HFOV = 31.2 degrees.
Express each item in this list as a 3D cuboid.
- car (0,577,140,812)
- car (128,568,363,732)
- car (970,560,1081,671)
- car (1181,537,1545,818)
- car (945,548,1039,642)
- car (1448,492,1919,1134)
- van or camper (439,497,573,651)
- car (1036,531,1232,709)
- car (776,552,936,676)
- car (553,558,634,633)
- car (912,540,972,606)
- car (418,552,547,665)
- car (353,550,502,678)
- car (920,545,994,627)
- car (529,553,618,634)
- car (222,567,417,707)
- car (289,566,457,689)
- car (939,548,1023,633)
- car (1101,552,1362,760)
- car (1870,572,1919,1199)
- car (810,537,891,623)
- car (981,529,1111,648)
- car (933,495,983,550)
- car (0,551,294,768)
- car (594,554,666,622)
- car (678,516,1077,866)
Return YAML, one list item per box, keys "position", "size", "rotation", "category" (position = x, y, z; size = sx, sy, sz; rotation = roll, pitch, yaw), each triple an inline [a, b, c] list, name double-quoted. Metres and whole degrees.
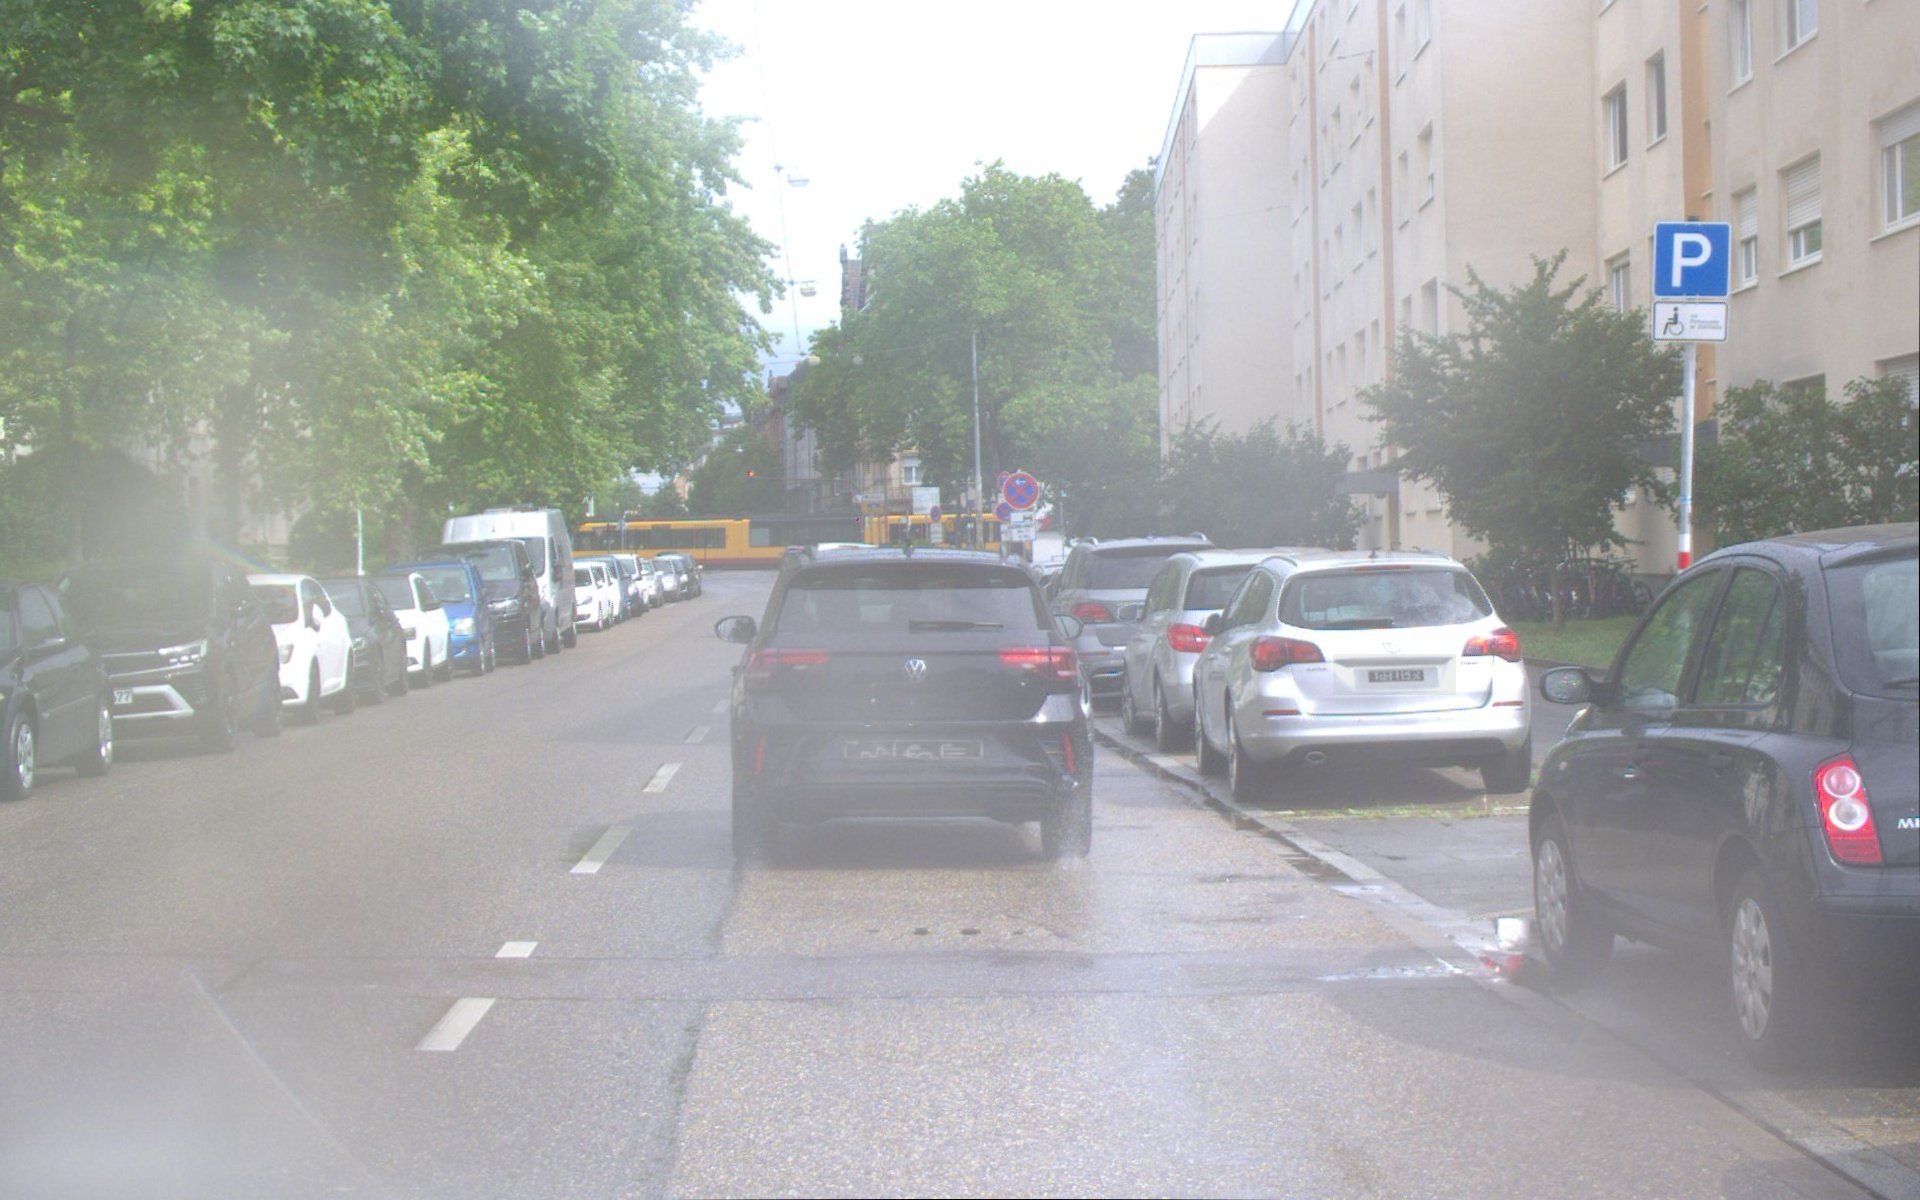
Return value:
- position: [-6.719, 0.598, 23.089]
  size: [1.586, 1.413, 4.053]
  rotation: [-2, 1, -3]
  category: "car"
- position: [-6.832, 0.438, 33.205]
  size: [1.586, 1.413, 3.921]
  rotation: [-2, 1, -3]
  category: "car"
- position: [1.091, 0.231, 58.800]
  size: [1.604, 1.759, 4.032]
  rotation: [-2, 1, -2]
  category: "car"
- position: [2.426, 0.413, 21.598]
  size: [1.695, 1.533, 4.032]
  rotation: [-2, 1, -1]
  category: "car"
- position: [0.612, -0.116, 68.579]
  size: [1.604, 1.759, 4.032]
  rotation: [-2, 1, -2]
  category: "car"
- position: [2.739, 0.512, 10.912]
  size: [1.604, 1.656, 4.033]
  rotation: [0, 1, -3]
  category: "car"
- position: [-7.845, -0.463, 59.809]
  size: [1.802, 2.485, 5.021]
  rotation: [-2, 1, -3]
  category: "van or camper"
- position: [1.734, 0.168, 35.402]
  size: [1.604, 1.666, 4.032]
  rotation: [-2, 1, -2]
  category: "car"
- position: [-1.302, 0.176, 44.444]
  size: [1.813, 1.498, 4.000]
  rotation: [1, 0, 2]
  category: "car"
- position: [-8.534, -0.130, 80.224]
  size: [1.586, 1.634, 3.921]
  rotation: [-2, 1, -3]
  category: "car"
- position: [-0.546, -0.815, 101.128]
  size: [1.665, 1.831, 4.000]
  rotation: [-2, 1, 0]
  category: "car"
- position: [-7.405, 0.108, 53.590]
  size: [1.586, 1.634, 3.921]
  rotation: [-2, 1, -3]
  category: "car"
- position: [-7.352, 0.160, 47.759]
  size: [1.586, 1.634, 3.921]
  rotation: [-2, 1, -3]
  category: "car"
- position: [-0.086, -0.357, 81.966]
  size: [1.665, 1.831, 4.000]
  rotation: [-2, 1, 0]
  category: "car"
- position: [-8.278, -0.159, 73.911]
  size: [1.586, 1.634, 3.921]
  rotation: [-2, 1, -3]
  category: "car"
- position: [-7.113, 0.371, 38.491]
  size: [1.586, 1.413, 3.921]
  rotation: [-2, 1, -3]
  category: "car"
- position: [-7.379, 0.314, 43.489]
  size: [1.586, 1.413, 3.921]
  rotation: [-2, 1, -3]
  category: "car"
- position: [0.431, -0.232, 75.843]
  size: [1.604, 1.759, 4.032]
  rotation: [-2, 1, -2]
  category: "car"
- position: [2.130, 0.397, 27.920]
  size: [1.604, 1.500, 4.032]
  rotation: [-2, 1, -2]
  category: "car"
- position: [3.123, 0.688, 6.045]
  size: [1.716, 1.447, 4.260]
  rotation: [0, 1, -3]
  category: "car"
- position: [-2.716, -0.493, 86.229]
  size: [1.836, 2.096, 4.000]
  rotation: [1, 0, 1]
  category: "car"
- position: [1.238, -0.194, 50.958]
  size: [1.604, 1.630, 4.032]
  rotation: [-2, 1, -2]
  category: "car"
- position: [-0.085, -2.688, 119.657]
  size: [1.665, 1.831, 4.000]
  rotation: [-2, 1, 0]
  category: "car"
- position: [-6.525, 0.421, 27.914]
  size: [1.586, 1.570, 4.015]
  rotation: [-2, 1, -3]
  category: "car"
- position: [-8.408, -0.320, 87.782]
  size: [1.586, 1.634, 3.921]
  rotation: [-2, 1, -3]
  category: "car"
- position: [-0.339, 0.398, 18.335]
  size: [1.873, 1.640, 4.062]
  rotation: [1, 1, 2]
  category: "car"
